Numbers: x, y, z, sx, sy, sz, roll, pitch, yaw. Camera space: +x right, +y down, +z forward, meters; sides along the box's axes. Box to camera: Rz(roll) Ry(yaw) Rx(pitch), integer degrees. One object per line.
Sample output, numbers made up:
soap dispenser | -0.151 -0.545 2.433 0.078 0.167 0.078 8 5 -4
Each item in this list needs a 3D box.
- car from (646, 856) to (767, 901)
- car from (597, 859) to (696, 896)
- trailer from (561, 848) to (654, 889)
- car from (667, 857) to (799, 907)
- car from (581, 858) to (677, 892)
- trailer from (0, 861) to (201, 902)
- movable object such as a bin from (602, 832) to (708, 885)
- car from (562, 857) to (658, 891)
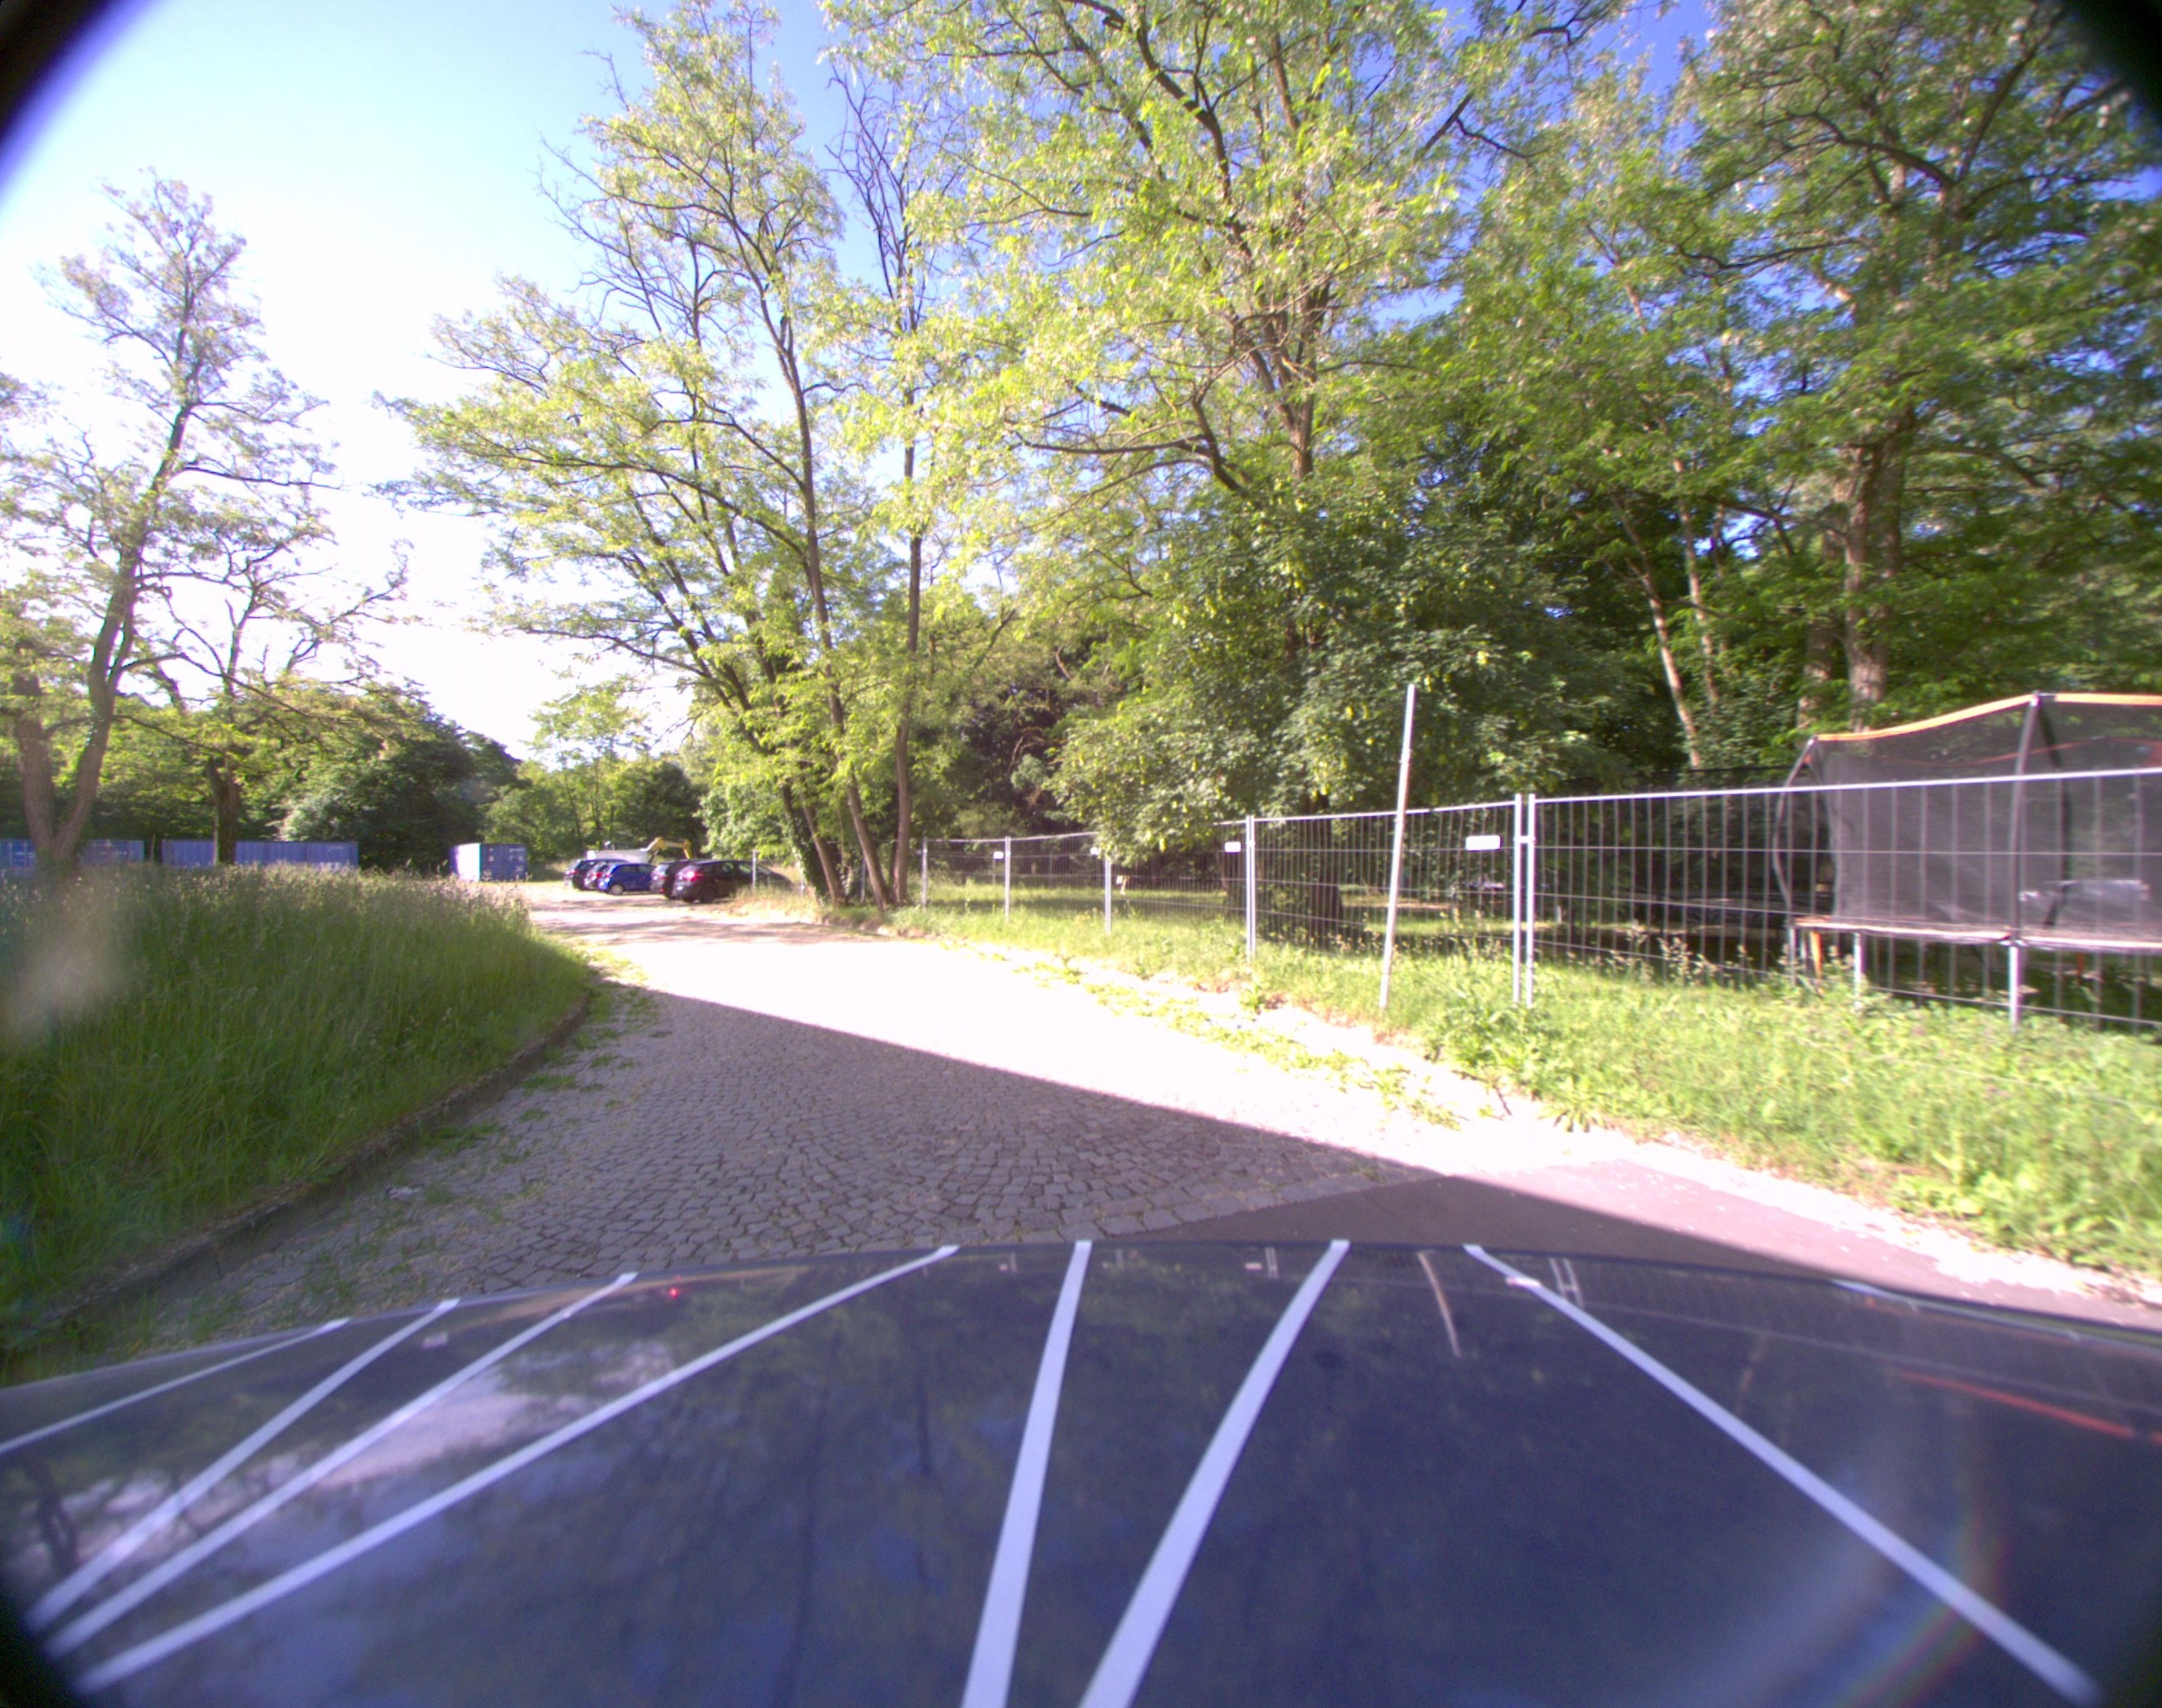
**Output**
car | -15.806 0.985 32.250 1.812 1.646 4.199 0 1 44
car | -20.191 1.055 35.392 3.670 1.485 1.709 -3 2 -43
trailer | -25.614 0.740 41.196 3.981 2.082 1.634 -2 1 -45
car | -13.596 1.041 29.886 1.788 1.643 4.308 0 2 40
car | -22.078 0.993 37.198 1.829 1.443 3.670 1 2 45
trailer | -43.606 1.139 33.200 2.847 1.509 6.506 2 2 45
movable object such as a bin | -25.271 0.271 45.192 5.175 2.948 1.994 0 0 -41
car | -23.978 0.973 38.736 3.828 1.631 1.863 -1 0 -43
